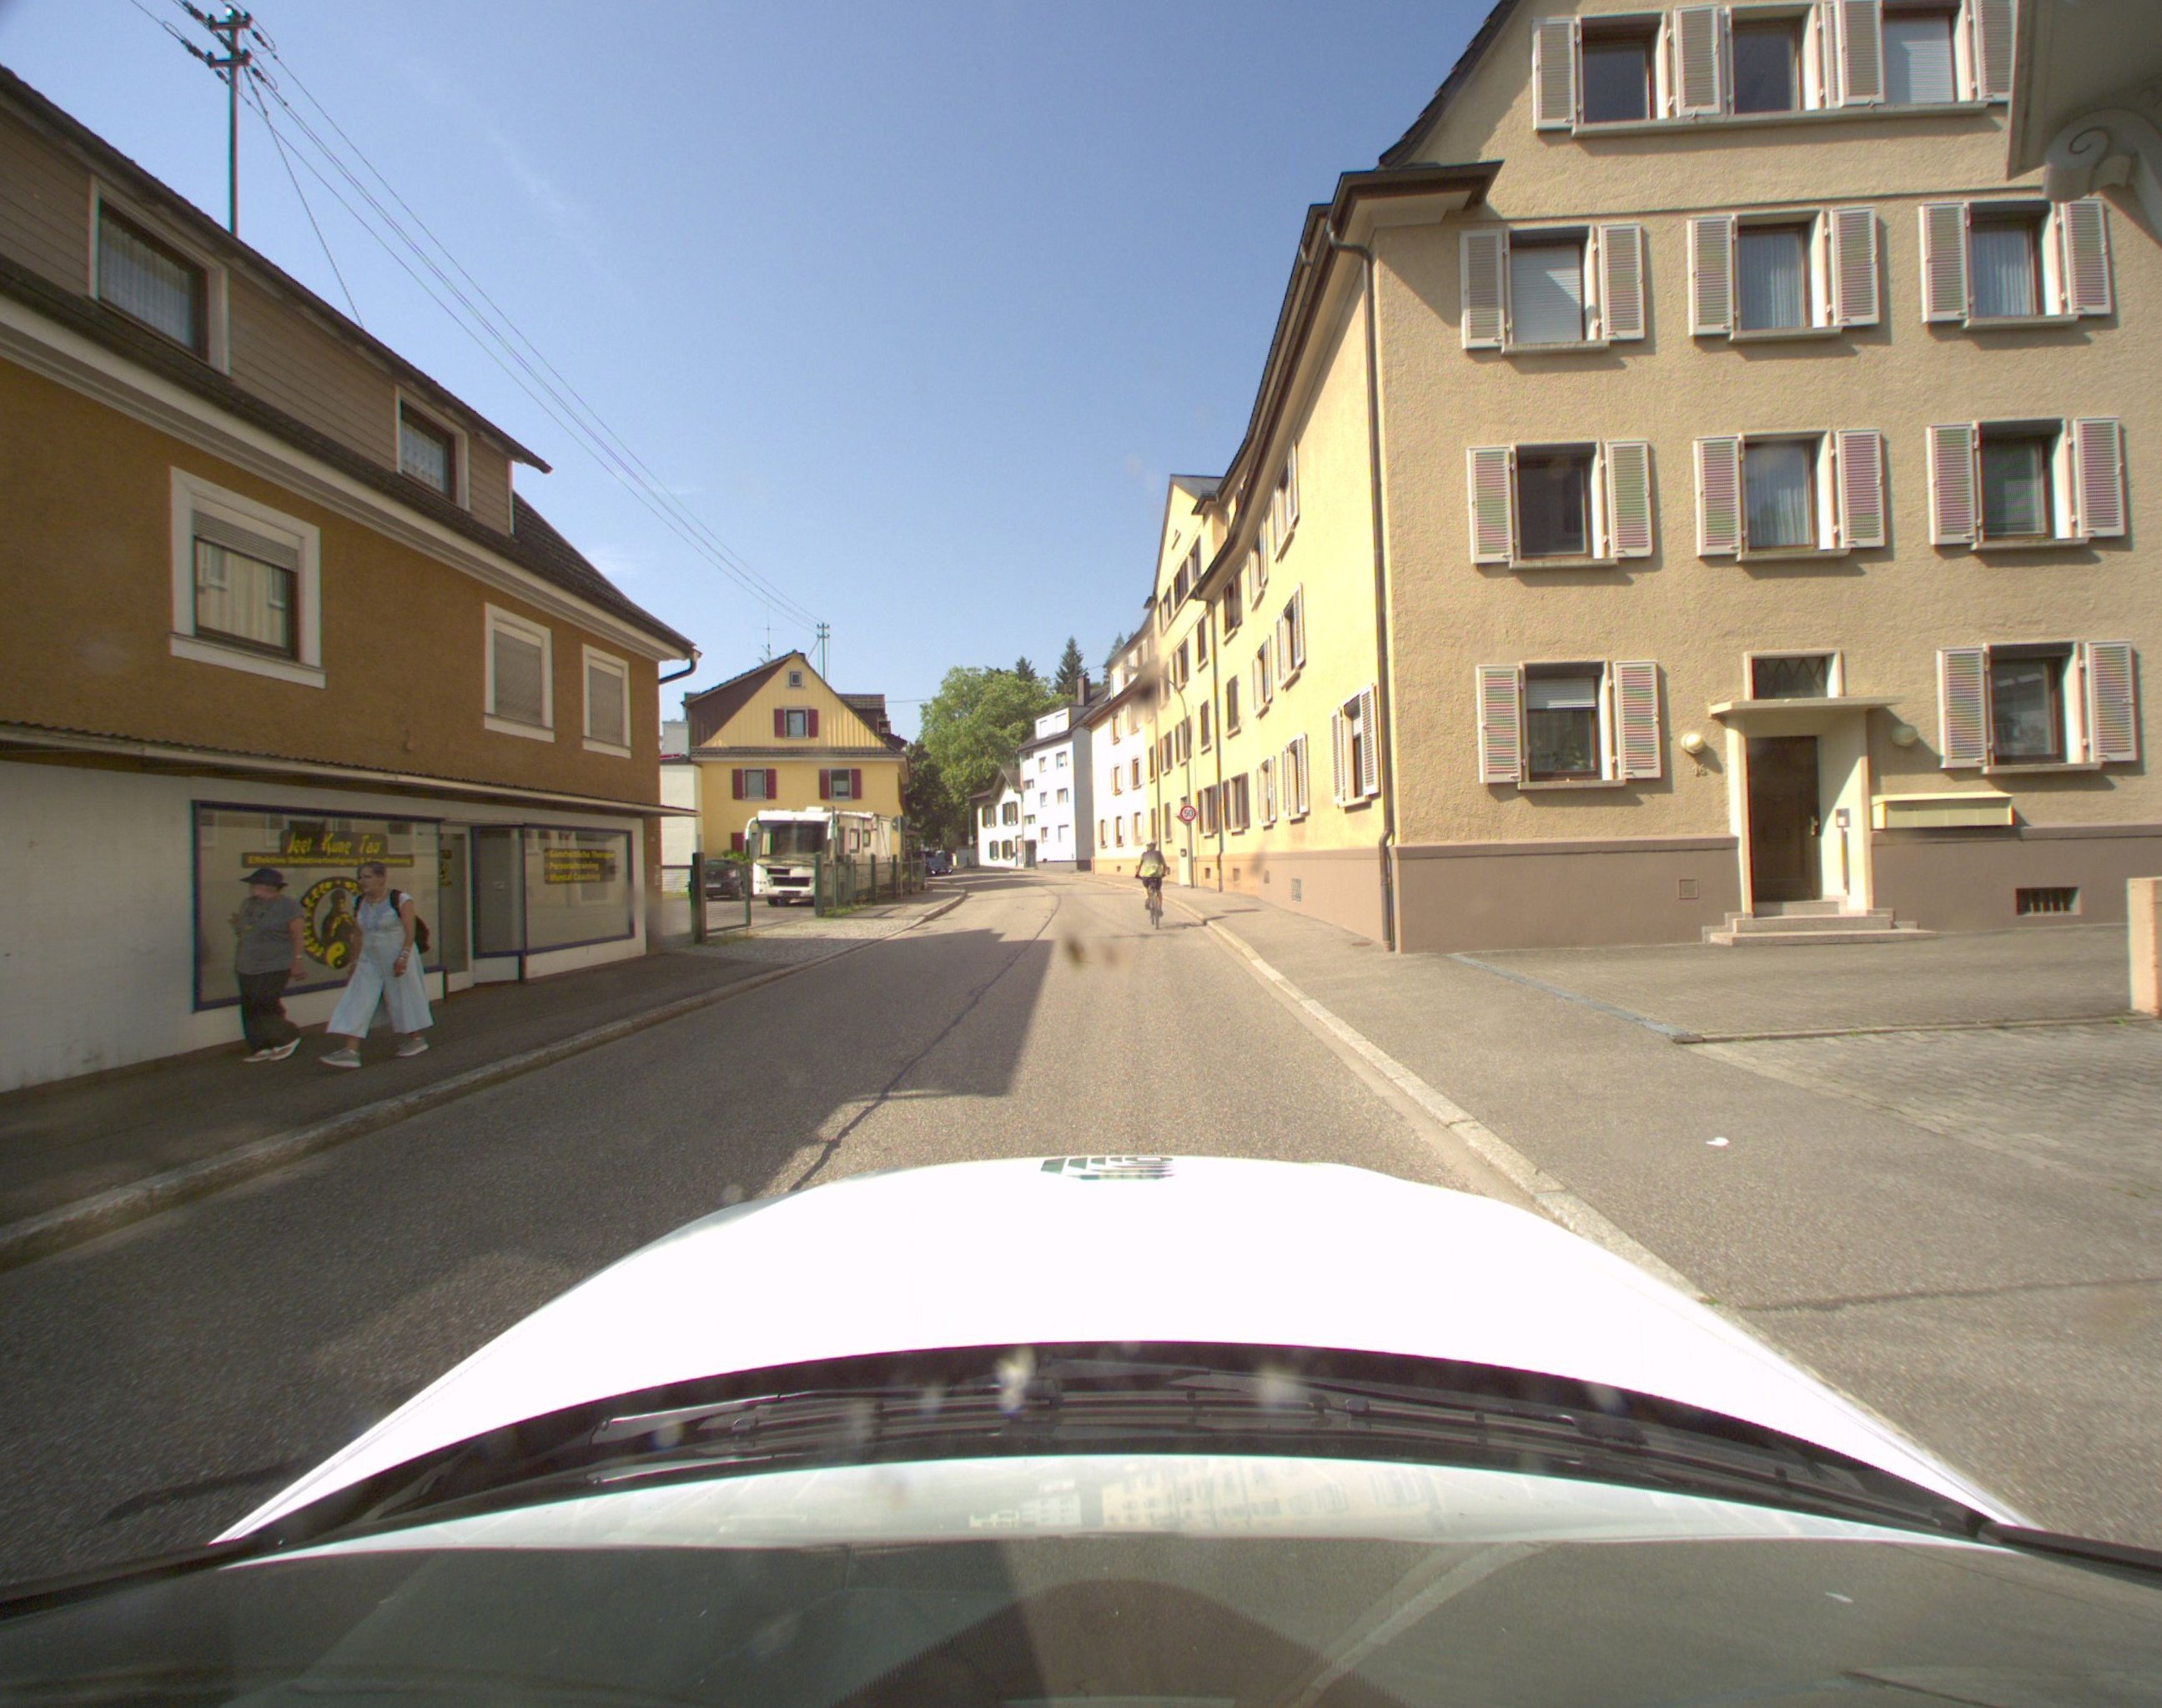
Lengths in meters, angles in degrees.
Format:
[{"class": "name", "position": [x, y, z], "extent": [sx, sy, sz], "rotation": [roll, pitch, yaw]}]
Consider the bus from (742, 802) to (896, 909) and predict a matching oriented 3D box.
[{"class": "bus", "position": [-8.994, 0.039, 29.337], "extent": [2.812, 3.228, 9.030], "rotation": [0, 0, -1]}]

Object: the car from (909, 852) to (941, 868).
[{"class": "car", "position": [-17.711, 0.651, 92.353], "extent": [1.837, 1.791, 3.954], "rotation": [-3, 2, -39]}]

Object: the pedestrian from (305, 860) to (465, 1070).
[{"class": "pedestrian", "position": [-5.711, 0.864, 6.728], "extent": [0.637, 1.626, 0.777], "rotation": [0, 0, 2]}]

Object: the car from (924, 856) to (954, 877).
[{"class": "car", "position": [-11.313, 1.010, 64.696], "extent": [1.752, 1.453, 4.004], "rotation": [-6, 1, -17]}]

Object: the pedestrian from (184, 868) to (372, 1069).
[{"class": "pedestrian", "position": [-6.667, 0.904, 6.807], "extent": [0.732, 1.564, 0.825], "rotation": [0, 0, 2]}]

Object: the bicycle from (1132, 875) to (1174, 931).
[{"class": "bicycle", "position": [1.446, 0.966, 16.553], "extent": [0.696, 1.035, 1.471], "rotation": [-1, 0, 0]}]

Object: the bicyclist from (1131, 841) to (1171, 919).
[{"class": "bicyclist", "position": [1.415, 0.519, 16.508], "extent": [0.683, 1.531, 0.715], "rotation": [-2, -1, 0]}]

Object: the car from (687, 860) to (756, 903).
[{"class": "car", "position": [-12.745, 0.931, 29.054], "extent": [1.769, 1.432, 3.977], "rotation": [0, -1, -17]}]
